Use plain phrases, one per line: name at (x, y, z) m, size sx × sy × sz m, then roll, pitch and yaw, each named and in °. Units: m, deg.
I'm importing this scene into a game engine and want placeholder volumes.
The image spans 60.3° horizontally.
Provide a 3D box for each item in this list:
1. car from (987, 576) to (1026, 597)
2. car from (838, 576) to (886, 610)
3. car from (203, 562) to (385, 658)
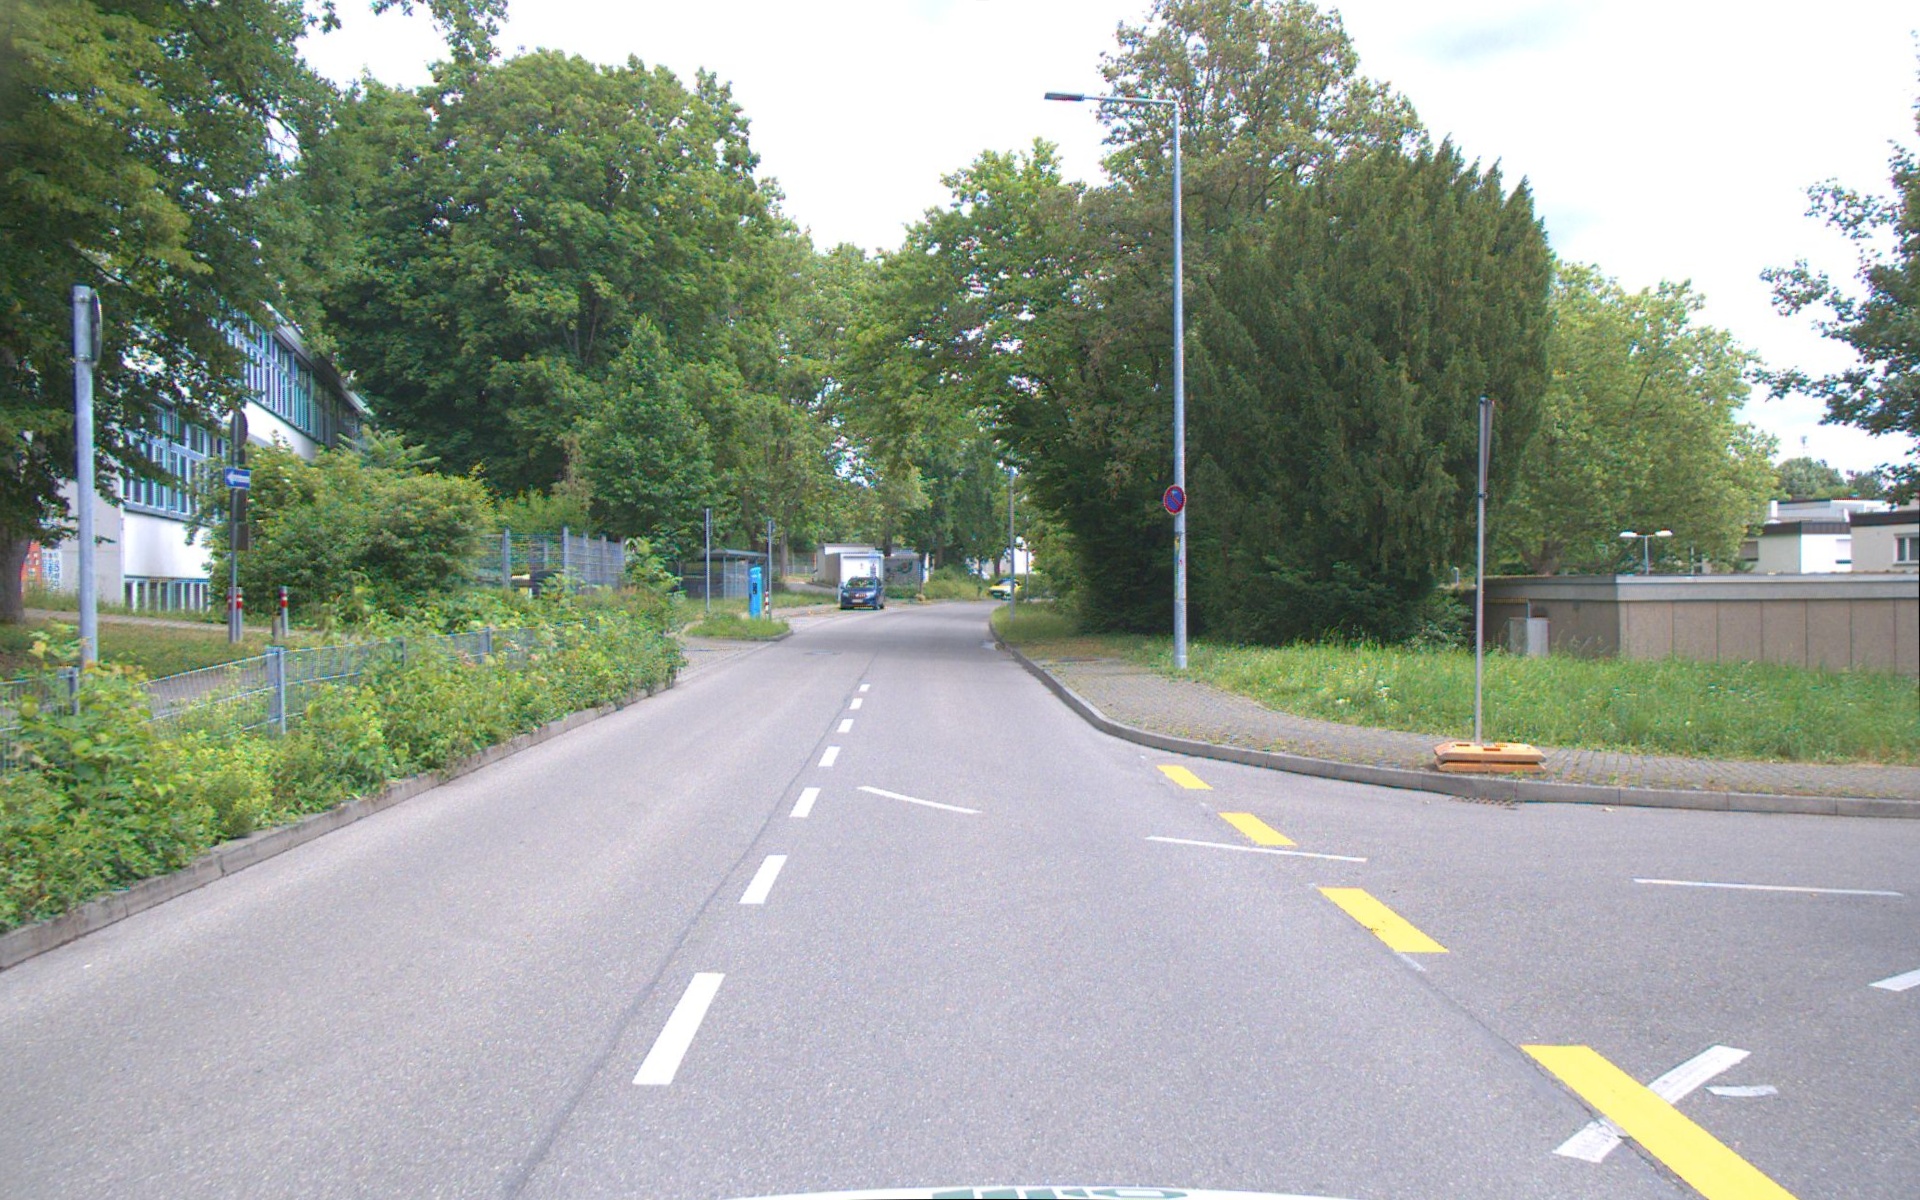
car at (3.259, -0.942, 114.944) m, size 1.664 × 1.427 × 4.276 m, roll 1°, pitch 0°, yaw 17°
car at (-4.544, -0.333, 77.342) m, size 1.644 × 1.538 × 4.434 m, roll 0°, pitch 1°, yaw 4°
car at (-14.996, 0.193, 37.496) m, size 1.951 × 2.049 × 4.004 m, roll 0°, pitch 1°, yaw 10°
